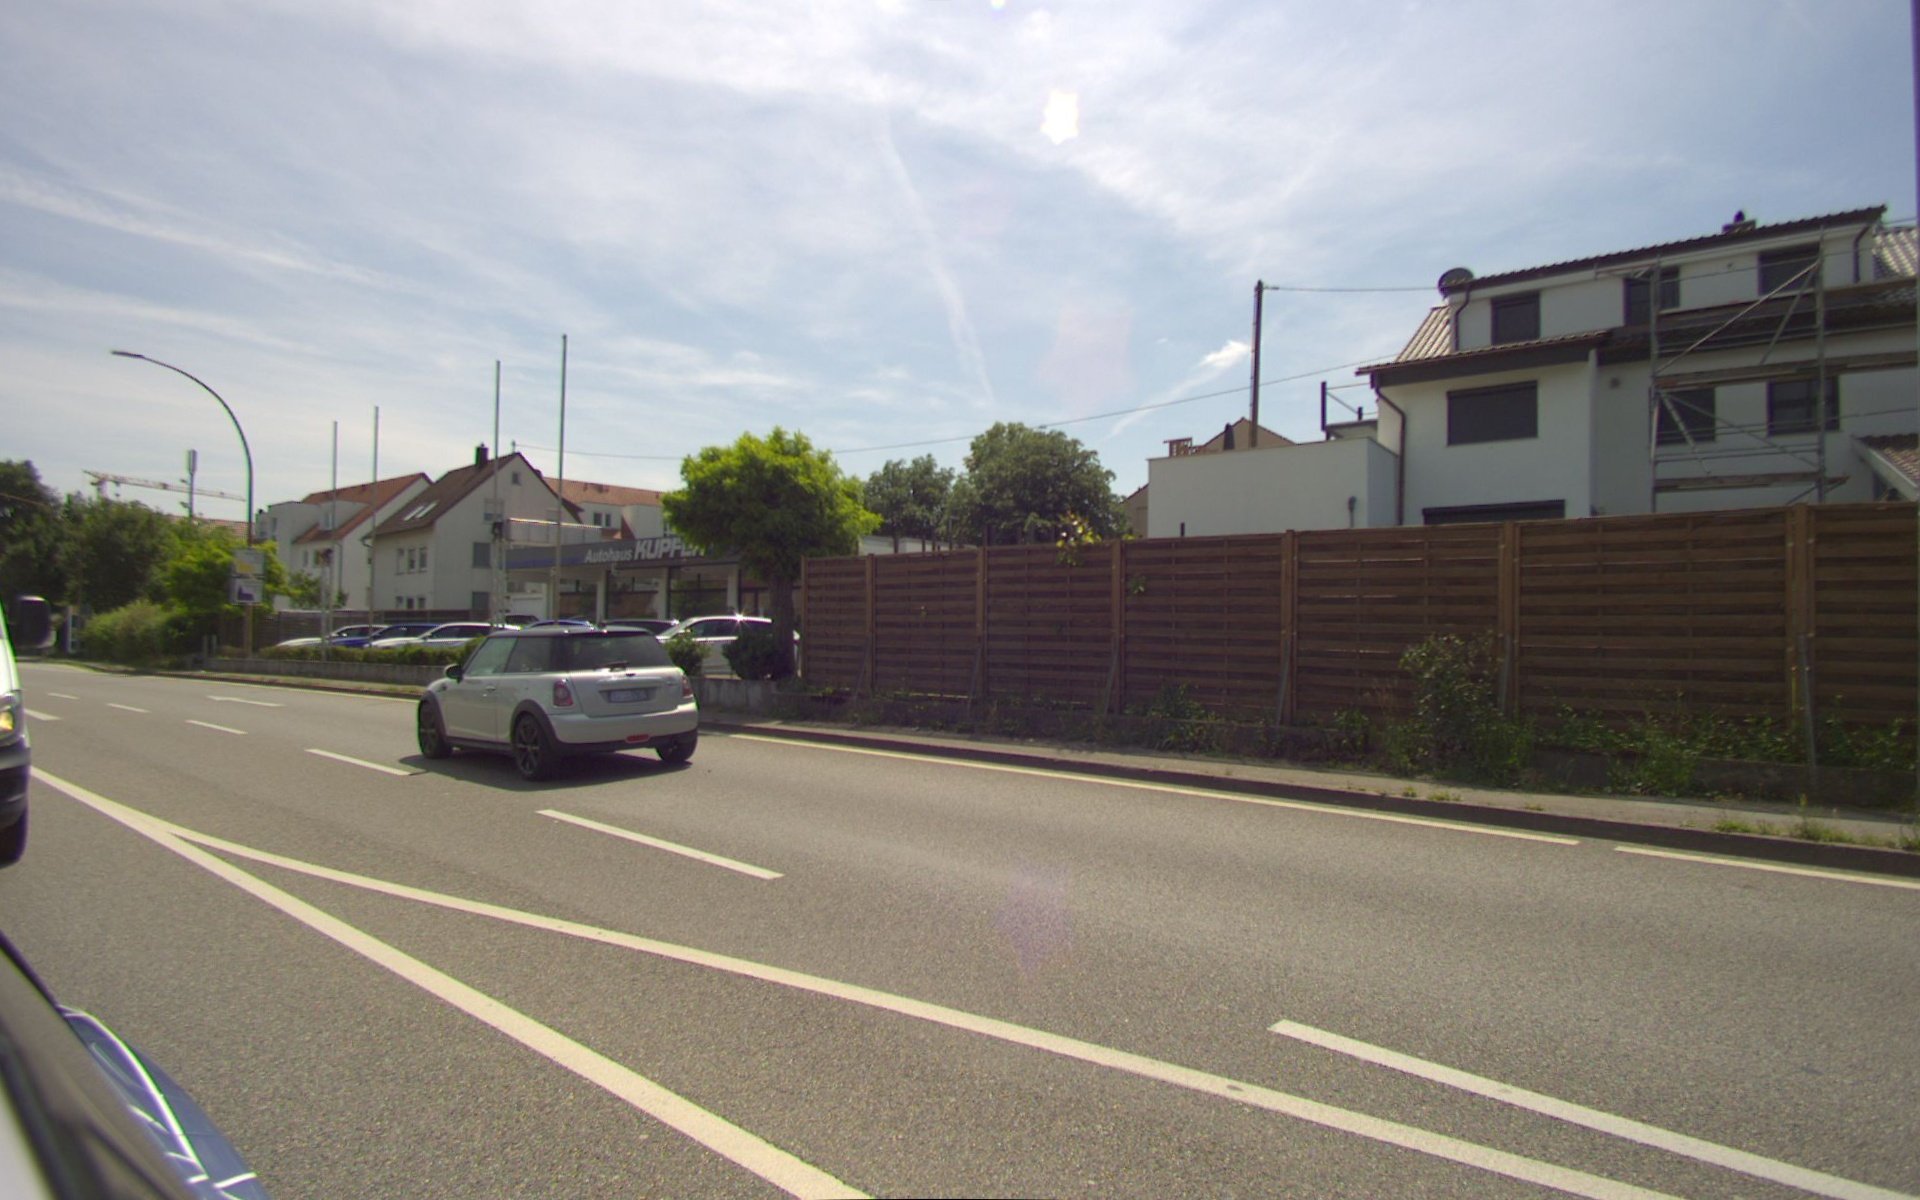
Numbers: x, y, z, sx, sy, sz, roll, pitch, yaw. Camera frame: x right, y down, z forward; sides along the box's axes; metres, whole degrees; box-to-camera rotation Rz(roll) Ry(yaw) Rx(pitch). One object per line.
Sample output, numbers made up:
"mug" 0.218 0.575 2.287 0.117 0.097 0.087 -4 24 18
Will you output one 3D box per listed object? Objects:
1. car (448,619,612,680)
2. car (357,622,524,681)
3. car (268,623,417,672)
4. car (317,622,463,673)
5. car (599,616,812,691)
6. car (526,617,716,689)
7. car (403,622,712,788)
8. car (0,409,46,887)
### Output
"car" -11.573 1.294 27.308 3.931 1.453 1.860 -1 -1 -25
"car" -15.160 1.474 29.812 4.239 1.530 2.006 -1 -1 -23
"car" -21.375 1.610 35.248 4.192 1.541 2.006 -1 -1 -24
"car" -18.303 1.505 32.738 3.930 1.475 2.006 -1 -1 -24
"car" -5.626 1.126 22.399 4.264 1.471 1.861 0 -1 -26
"car" -8.338 1.260 24.929 4.187 1.557 1.856 -1 -1 -27
"car" -4.278 0.962 10.521 3.560 1.392 1.604 -2 -1 43
"car" -7.919 0.335 6.730 5.628 2.619 1.953 -2 -1 40
